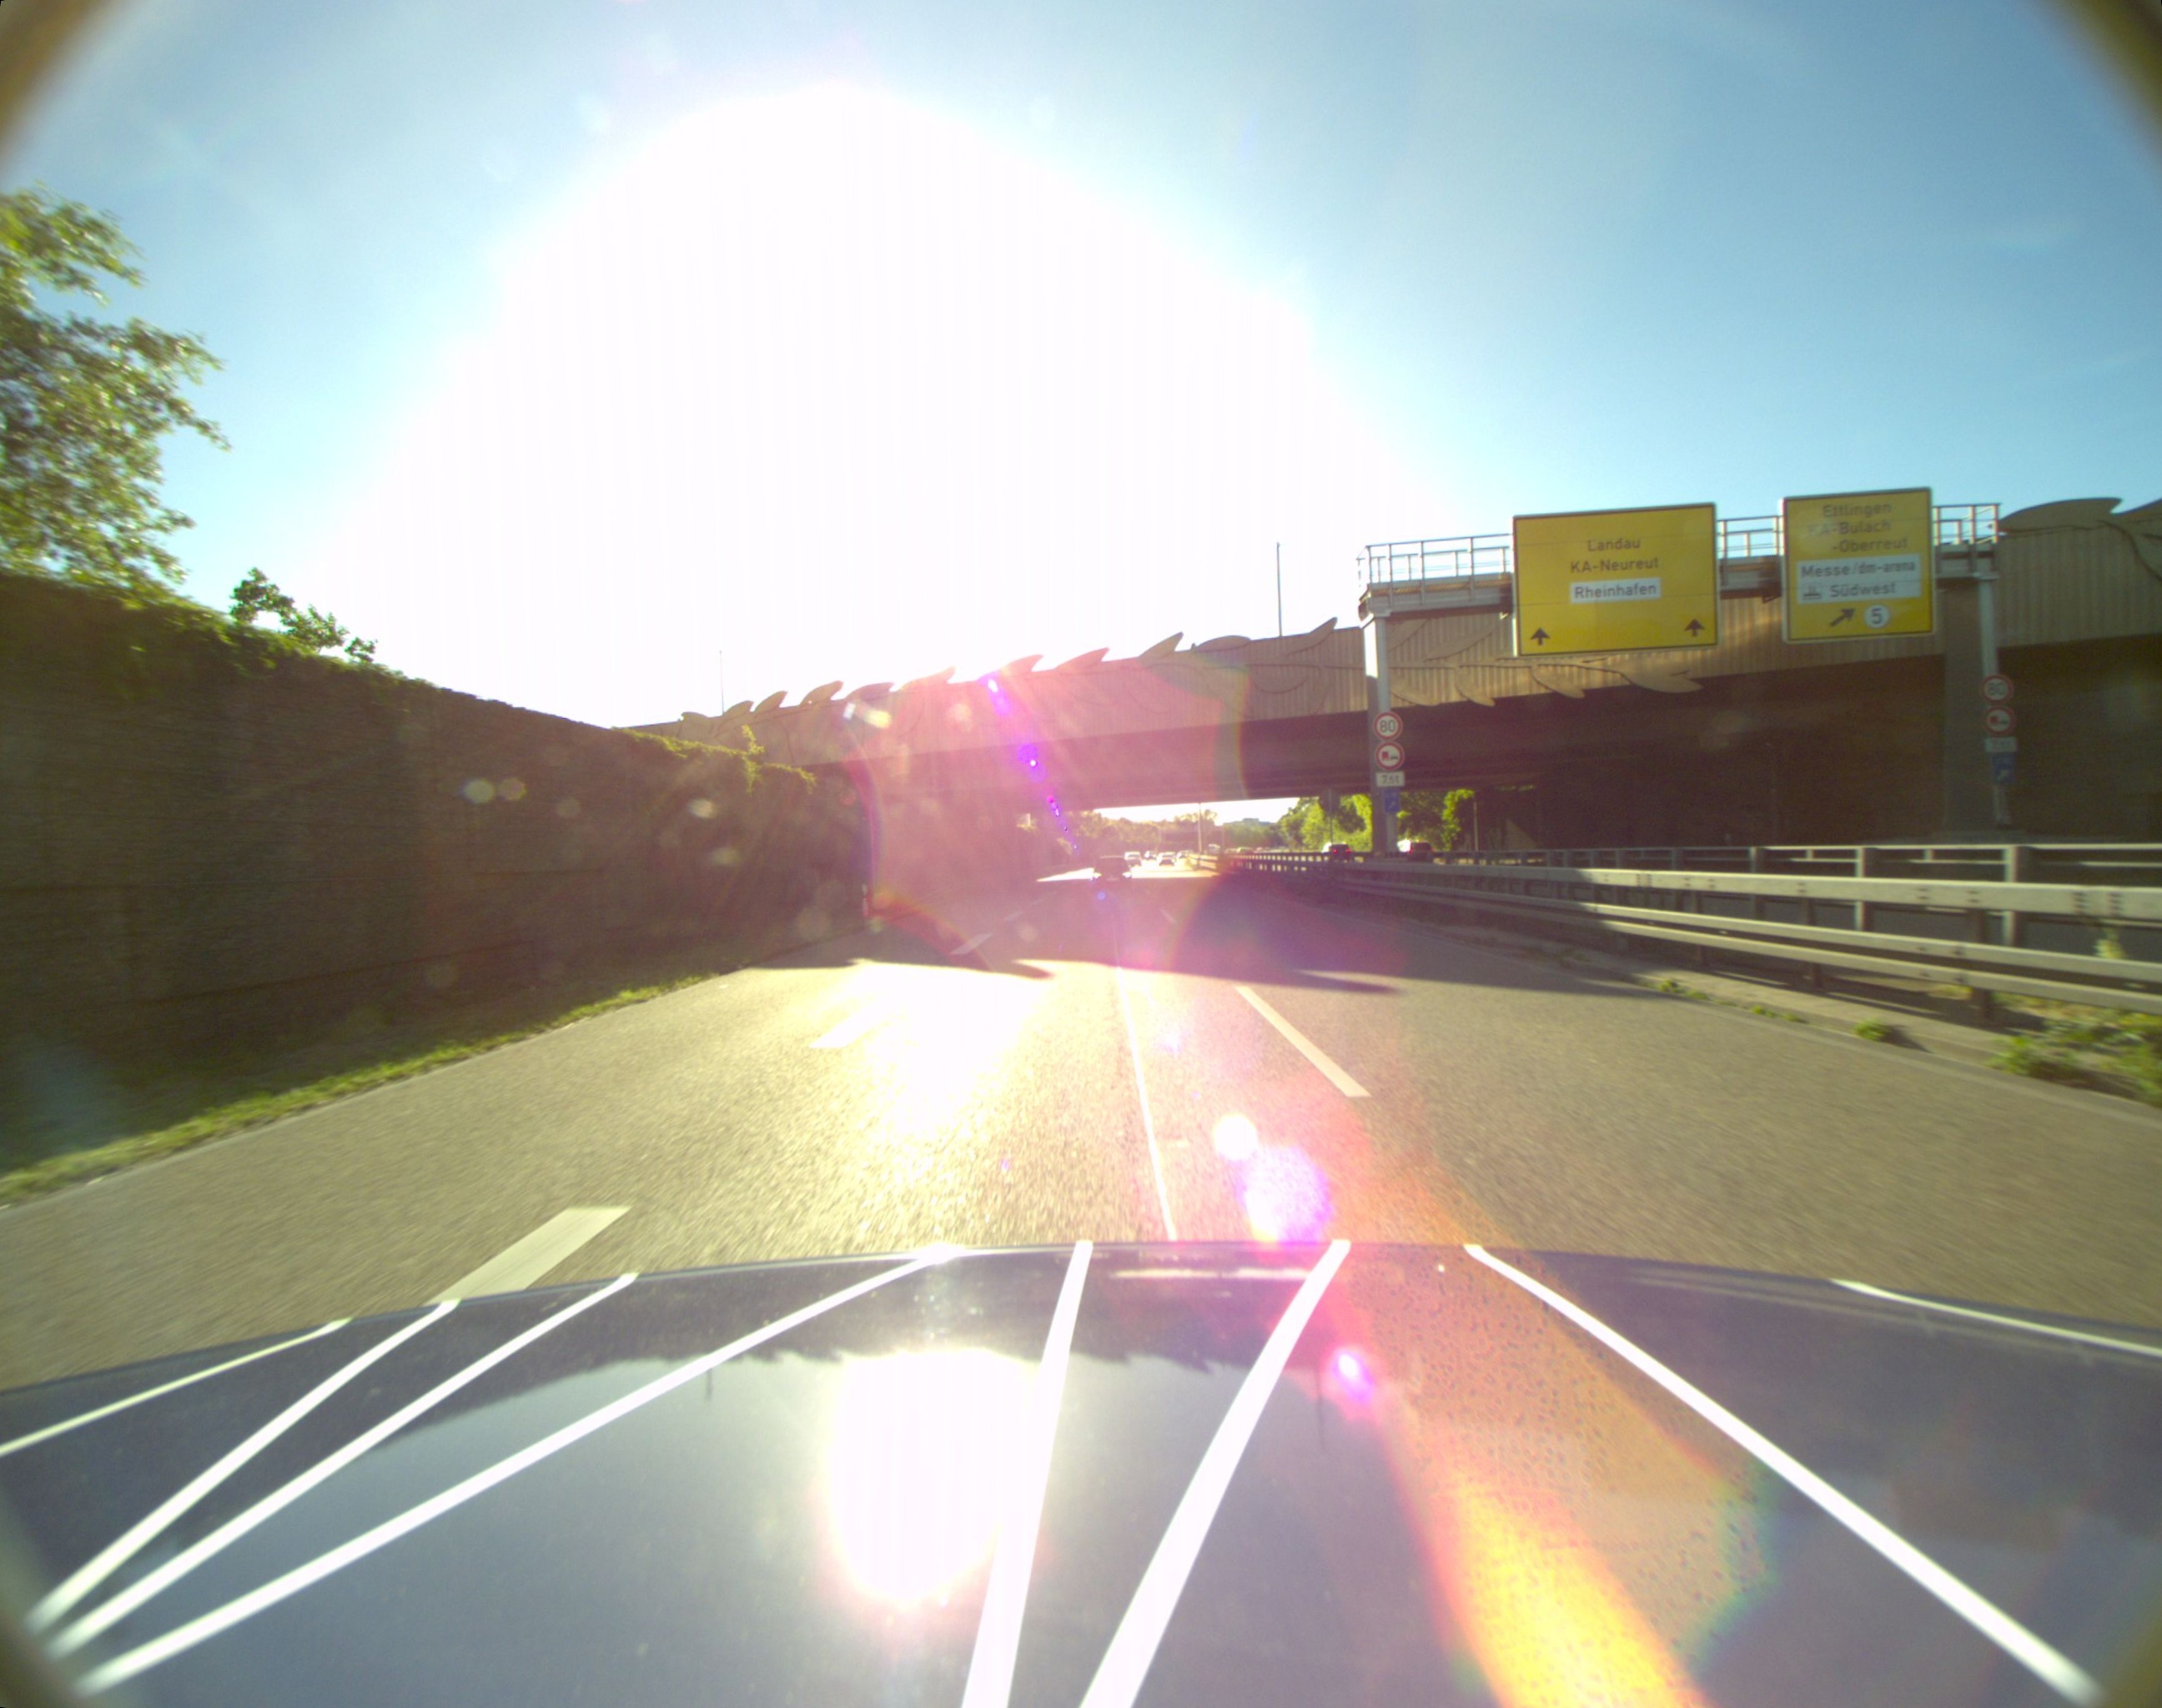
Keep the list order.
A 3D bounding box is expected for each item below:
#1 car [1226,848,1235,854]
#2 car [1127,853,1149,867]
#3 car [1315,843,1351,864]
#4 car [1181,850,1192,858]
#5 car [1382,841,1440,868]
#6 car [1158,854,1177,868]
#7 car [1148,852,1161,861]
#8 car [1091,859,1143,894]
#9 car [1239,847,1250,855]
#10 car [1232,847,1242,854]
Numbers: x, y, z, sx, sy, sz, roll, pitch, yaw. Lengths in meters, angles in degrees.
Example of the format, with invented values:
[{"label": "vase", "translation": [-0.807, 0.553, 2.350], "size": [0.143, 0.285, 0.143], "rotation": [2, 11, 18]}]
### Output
[{"label": "car", "translation": [40.459, -0.768, 205.466], "size": [1.997, 1.631, 4.724], "rotation": [-3, 0, 9]}, {"label": "car", "translation": [6.619, 0.686, 88.274], "size": [1.997, 1.406, 4.834], "rotation": [-3, 0, 10]}, {"label": "car", "translation": [22.335, -0.034, 67.515], "size": [1.998, 1.696, 4.562], "rotation": [-1, 0, 4]}, {"label": "car", "translation": [21.076, -0.027, 151.689], "size": [1.997, 1.406, 4.834], "rotation": [-3, 0, 8]}, {"label": "car", "translation": [21.105, 0.018, 48.820], "size": [1.998, 1.586, 4.428], "rotation": [-3, 0, 4]}, {"label": "car", "translation": [9.740, 0.786, 85.596], "size": [1.998, 1.406, 4.833], "rotation": [-3, 0, 6]}, {"label": "car", "translation": [13.080, 0.470, 134.962], "size": [1.997, 1.406, 4.833], "rotation": [-3, 0, 8]}, {"label": "car", "translation": [1.773, 0.975, 35.348], "size": [1.997, 1.406, 4.833], "rotation": [-2, 0, 7]}, {"label": "car", "translation": [34.267, -0.666, 159.613], "size": [1.997, 1.631, 4.724], "rotation": [-3, 0, 9]}, {"label": "car", "translation": [38.241, -0.825, 186.149], "size": [1.997, 1.631, 4.724], "rotation": [-3, 0, 9]}]
